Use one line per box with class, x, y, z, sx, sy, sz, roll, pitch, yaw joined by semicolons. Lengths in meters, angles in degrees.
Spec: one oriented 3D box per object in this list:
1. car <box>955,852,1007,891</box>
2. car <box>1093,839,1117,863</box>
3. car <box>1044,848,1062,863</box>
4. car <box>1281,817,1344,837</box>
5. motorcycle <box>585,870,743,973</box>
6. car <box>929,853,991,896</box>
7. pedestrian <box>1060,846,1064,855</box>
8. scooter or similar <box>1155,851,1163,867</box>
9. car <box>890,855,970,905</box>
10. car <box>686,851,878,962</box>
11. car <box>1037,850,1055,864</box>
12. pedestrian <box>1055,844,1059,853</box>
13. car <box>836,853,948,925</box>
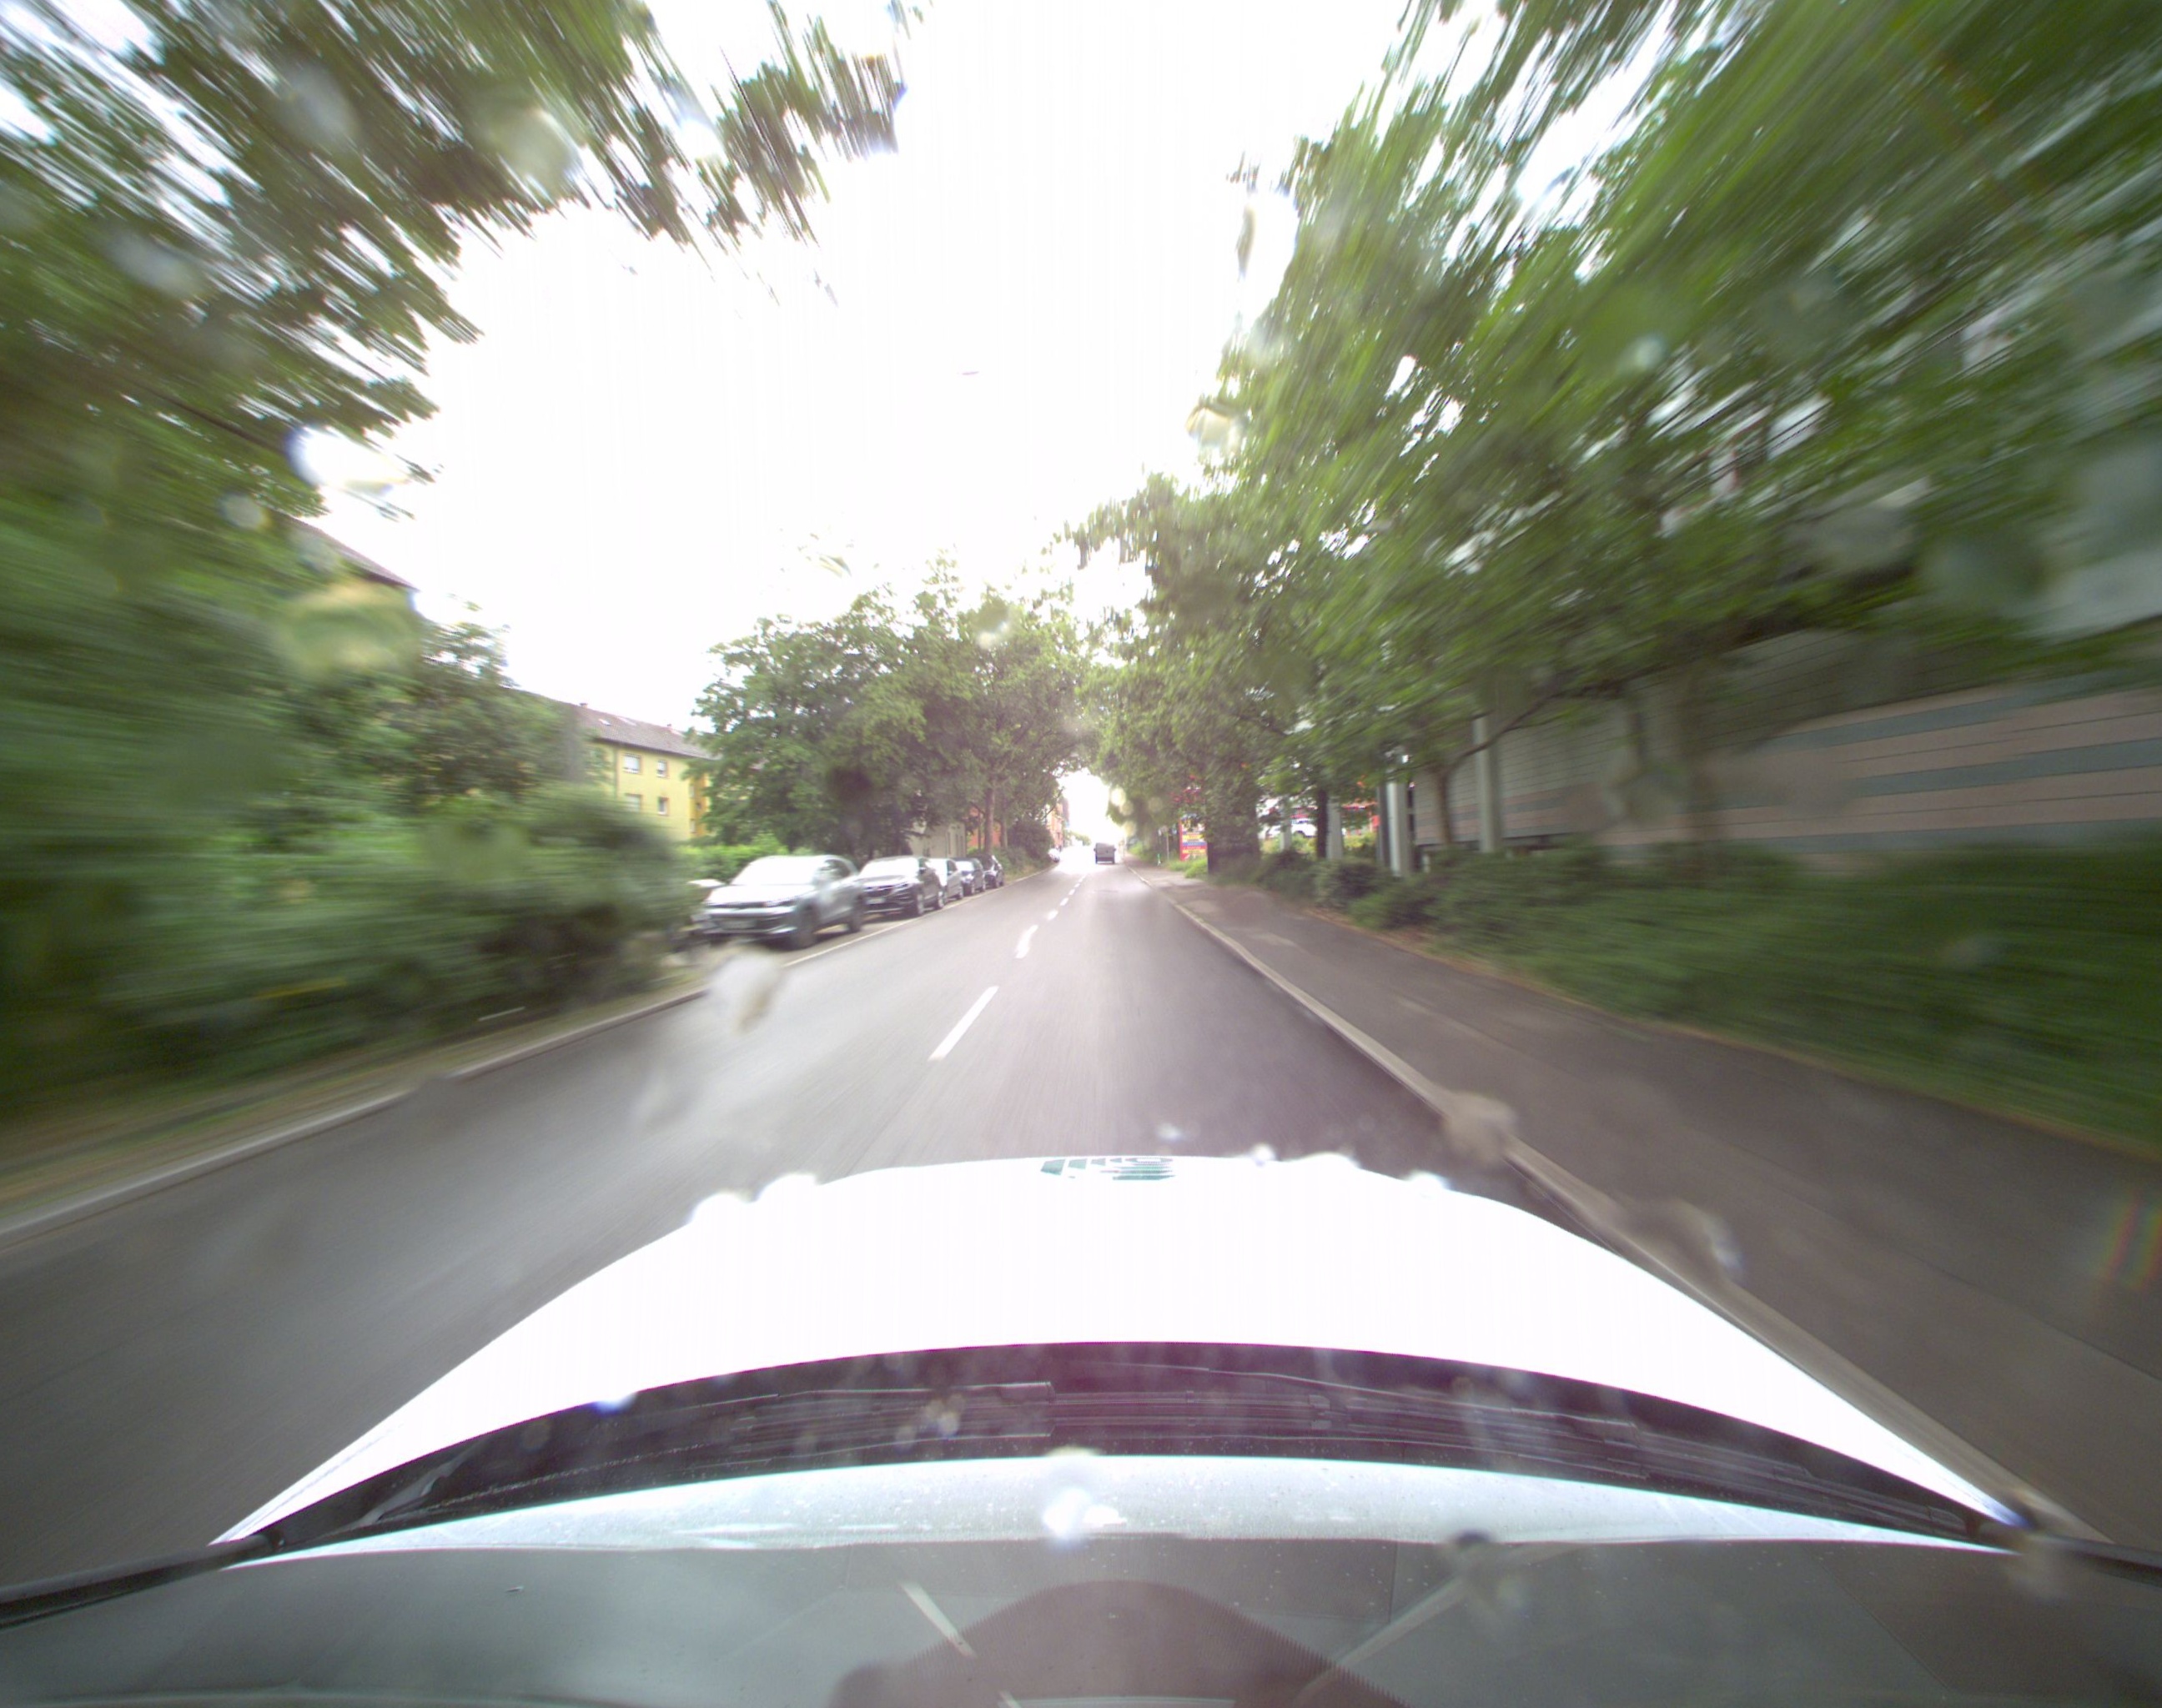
car;-4.547;0.757;37.547;1.642;1.537;4.019;-6;0;1
car;2.512;-0.285;83.711;2.327;2.231;4.002;-3;-1;2
car;-3.185;0.142;92.376;1.684;1.542;4.120;-5;1;2
car;16.778;-1.950;59.103;4.085;1.376;1.904;-1;0;1
motorcycle;-6.151;0.979;12.097;1.833;1.315;0.783;-5;0;1
car;-4.702;0.770;32.159;1.665;1.508;3.876;-2;0;2
pedestrian;-4.311;-0.863;183.130;0.668;2.013;0.943;-2;0;6
scooter or similar;5.987;0.386;62.582;0.424;1.142;1.528;0;-2;0
car;-4.918;0.790;27.079;1.665;1.508;4.127;-1;0;3
car;-5.605;0.884;15.974;1.727;1.657;4.567;-6;0;3
car;-3.711;0.279;86.685;1.633;1.373;3.758;-2;0;0
pedestrian;-5.409;-1.296;182.977;0.668;2.013;0.943;-2;0;6
car;-4.886;0.833;21.695;1.859;1.591;4.239;-4;0;0
